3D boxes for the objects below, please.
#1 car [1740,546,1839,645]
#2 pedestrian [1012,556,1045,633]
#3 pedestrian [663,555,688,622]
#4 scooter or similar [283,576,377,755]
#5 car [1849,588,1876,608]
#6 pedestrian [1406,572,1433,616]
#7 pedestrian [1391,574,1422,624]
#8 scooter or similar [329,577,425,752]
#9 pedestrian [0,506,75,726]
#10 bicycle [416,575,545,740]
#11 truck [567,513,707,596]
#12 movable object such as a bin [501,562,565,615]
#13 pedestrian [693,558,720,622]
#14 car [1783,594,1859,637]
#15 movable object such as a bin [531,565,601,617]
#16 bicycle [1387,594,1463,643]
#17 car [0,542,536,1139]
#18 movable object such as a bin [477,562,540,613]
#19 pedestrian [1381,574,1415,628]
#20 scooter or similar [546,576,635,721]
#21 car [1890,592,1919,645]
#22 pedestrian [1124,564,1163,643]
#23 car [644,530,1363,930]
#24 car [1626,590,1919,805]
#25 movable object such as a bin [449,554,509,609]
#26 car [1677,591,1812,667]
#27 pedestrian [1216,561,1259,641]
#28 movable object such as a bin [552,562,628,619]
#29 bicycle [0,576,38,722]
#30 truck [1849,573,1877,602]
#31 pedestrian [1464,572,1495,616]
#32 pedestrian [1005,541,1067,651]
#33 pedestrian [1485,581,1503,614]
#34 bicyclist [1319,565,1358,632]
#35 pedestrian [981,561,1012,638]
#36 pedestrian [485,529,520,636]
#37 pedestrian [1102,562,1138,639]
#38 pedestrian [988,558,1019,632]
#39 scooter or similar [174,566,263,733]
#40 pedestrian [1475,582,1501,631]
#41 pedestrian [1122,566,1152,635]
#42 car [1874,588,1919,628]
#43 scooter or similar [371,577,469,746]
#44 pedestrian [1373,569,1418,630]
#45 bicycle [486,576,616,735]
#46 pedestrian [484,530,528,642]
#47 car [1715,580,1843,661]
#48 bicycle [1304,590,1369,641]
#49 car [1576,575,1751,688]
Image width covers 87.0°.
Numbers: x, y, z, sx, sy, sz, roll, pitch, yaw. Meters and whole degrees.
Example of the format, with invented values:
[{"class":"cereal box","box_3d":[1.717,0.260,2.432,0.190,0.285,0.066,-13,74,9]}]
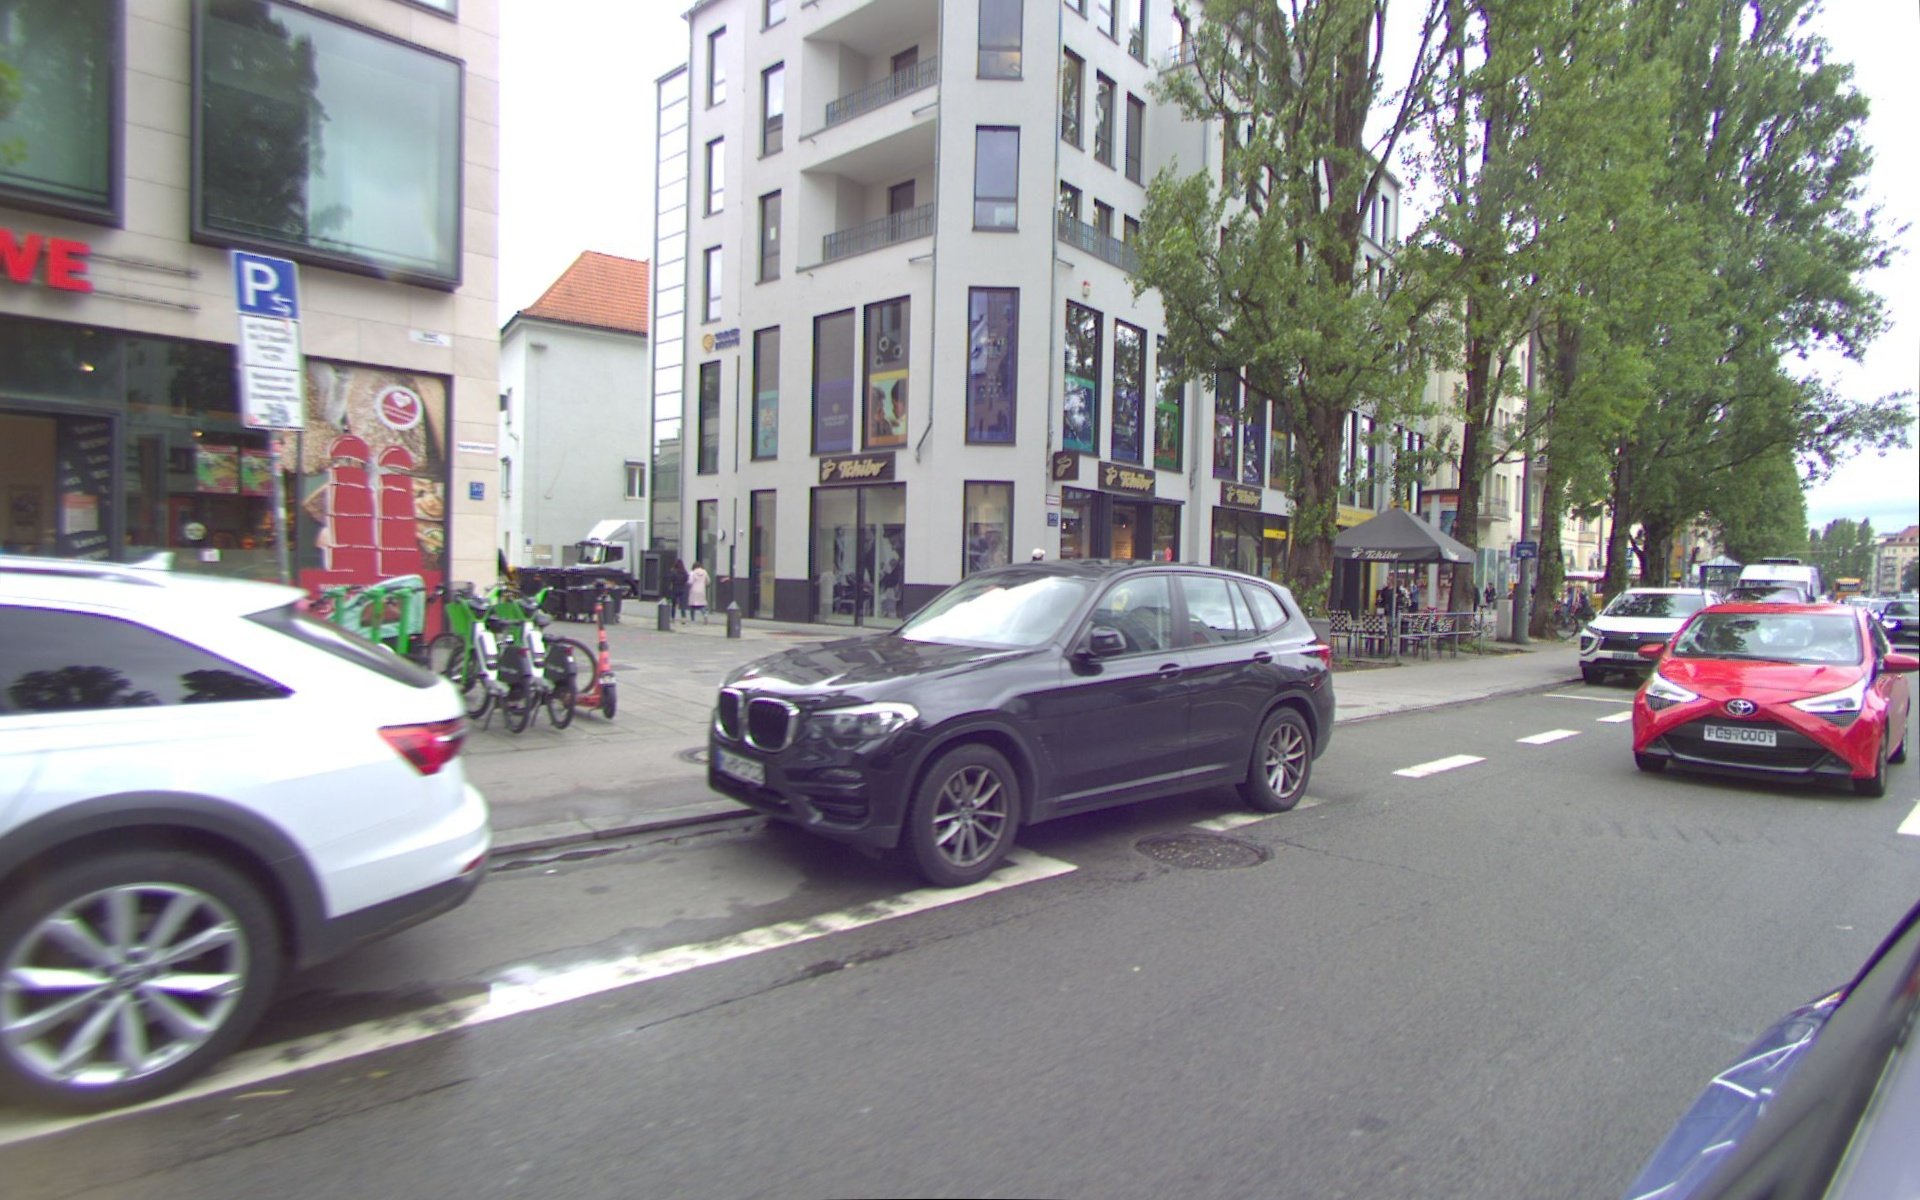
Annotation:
[{"class":"car","box_3d":[25.717,-0.181,31.294,1.993,2.776,5.468,1,1,43]},{"class":"pedestrian","box_3d":[1.509,-0.129,22.172,0.497,1.644,0.549,0,1,-31]},{"class":"pedestrian","box_3d":[-7.112,-0.286,25.278,0.490,1.644,0.508,0,1,-31]},{"class":"scooter or similar","box_3d":[-4.825,0.446,7.722,0.306,1.215,1.436,1,2,-44]},{"class":"car","box_3d":[86.486,-0.201,96.970,1.854,1.727,3.939,4,3,42]},{"class":"pedestrian","box_3d":[17.396,-0.234,38.340,0.690,1.604,0.761,3,2,42]},{"class":"pedestrian","box_3d":[14.630,-0.045,33.169,0.682,1.577,0.738,3,2,44]},{"class":"scooter or similar","box_3d":[-4.600,0.455,7.943,0.306,1.215,1.436,1,2,-44]},{"class":"pedestrian","box_3d":[-7.481,0.092,7.844,0.600,1.639,0.796,2,2,-10]},{"class":"bicycle","box_3d":[-4.029,0.427,8.455,0.527,1.222,1.480,0,2,-43]},{"class":"truck","box_3d":[-14.531,-2.002,45.743,5.585,3.507,2.219,0,2,-42]},{"class":"movable object such as a bin","box_3d":[-11.194,-0.290,26.543,1.160,1.310,1.164,3,1,44]},{"class":"pedestrian","box_3d":[-6.383,-0.258,25.522,0.541,1.600,0.508,0,1,-31]},{"class":"car","box_3d":[31.038,0.530,36.432,4.079,1.472,1.726,0,0,-44]},{"class":"movable object such as a bin","box_3d":[-9.908,-0.215,25.445,1.109,1.236,1.279,3,1,44]},{"class":"bicycle","box_3d":[11.990,0.459,26.120,0.876,1.153,1.516,1,2,-30]},{"class":"car","box_3d":[-3.837,0.584,2.630,4.719,1.518,1.815,0,3,-40]},{"class":"movable object such as a bin","box_3d":[-12.160,-0.341,27.253,1.160,1.310,1.164,3,1,44]},{"class":"pedestrian","box_3d":[13.176,0.035,30.439,0.682,1.577,0.738,3,2,44]},{"class":"scooter or similar","box_3d":[-3.448,0.420,9.409,0.373,1.241,1.052,1,2,-43]},{"class":"car","box_3d":[28.624,0.530,29.824,1.735,1.488,3.988,2,1,43]},{"class":"pedestrian","box_3d":[3.808,0.068,20.989,0.559,1.586,0.491,0,2,-41]},{"class":"car","box_3d":[0.533,0.516,6.559,4.567,1.721,1.929,-1,1,-40]},{"class":"car","box_3d":[7.322,0.669,8.926,3.536,1.464,1.667,-1,1,-44]},{"class":"movable object such as a bin","box_3d":[-13.549,-0.521,28.488,1.160,1.452,1.164,3,1,44]},{"class":"car","box_3d":[16.688,0.546,21.448,1.771,1.451,4.498,0,0,44]},{"class":"pedestrian","box_3d":[6.301,0.010,22.977,0.666,1.746,0.760,3,2,35]},{"class":"movable object such as a bin","box_3d":[-9.029,-0.231,24.717,1.109,1.334,1.371,3,1,44]},{"class":"bicycle","box_3d":[-8.039,0.427,7.866,0.442,1.186,1.772,2,2,-12]},{"class":"truck","box_3d":[117.155,-1.593,131.379,2.533,3.531,7.635,3,2,41]},{"class":"pedestrian","box_3d":[21.097,-0.265,41.114,0.724,1.745,0.723,2,2,-11]},{"class":"pedestrian","box_3d":[1.406,-0.083,18.672,0.911,1.948,0.647,0,2,-44]},{"class":"pedestrian","box_3d":[27.742,-0.136,52.544,0.601,1.671,0.753,3,2,44]},{"class":"bicyclist","box_3d":[8.493,-0.036,22.702,0.432,1.466,0.640,1,2,-41]},{"class":"pedestrian","box_3d":[0.796,-0.021,21.861,0.542,1.644,0.504,0,1,20]},{"class":"pedestrian","box_3d":[-7.694,-0.301,17.021,0.419,1.772,0.468,1,2,-39]},{"class":"pedestrian","box_3d":[3.499,0.001,22.148,0.559,1.654,0.491,0,2,-41]},{"class":"pedestrian","box_3d":[0.967,-0.114,22.599,0.537,1.644,0.508,0,1,-18]},{"class":"scooter or similar","box_3d":[-6.114,0.354,8.333,0.543,1.226,1.389,1,2,-37]},{"class":"pedestrian","box_3d":[14.853,0.170,28.466,0.589,1.358,0.389,0,1,21]},{"class":"pedestrian","box_3d":[4.156,-0.001,23.780,0.557,1.595,0.673,2,2,19]},{"class":"car","box_3d":[44.667,0.355,47.952,1.992,1.771,3.940,1,1,42]},{"class":"scooter or similar","box_3d":[-4.379,0.451,8.167,0.306,1.215,1.436,1,2,-44]},{"class":"pedestrian","box_3d":[12.246,-0.034,28.470,0.800,1.657,1.007,3,2,44]},{"class":"bicycle","box_3d":[-3.582,0.434,8.802,0.527,1.222,1.480,0,2,-43]},{"class":"pedestrian","box_3d":[-7.366,-0.233,16.409,0.422,1.772,0.465,2,1,22]},{"class":"car","box_3d":[20.535,0.440,25.308,4.700,1.827,1.931,0,1,-44]},{"class":"bicycle","box_3d":[8.474,0.332,22.733,1.773,1.076,0.591,0,2,-42]},{"class":"car","box_3d":[12.295,0.460,17.572,4.336,1.707,1.728,0,1,-45]}]
